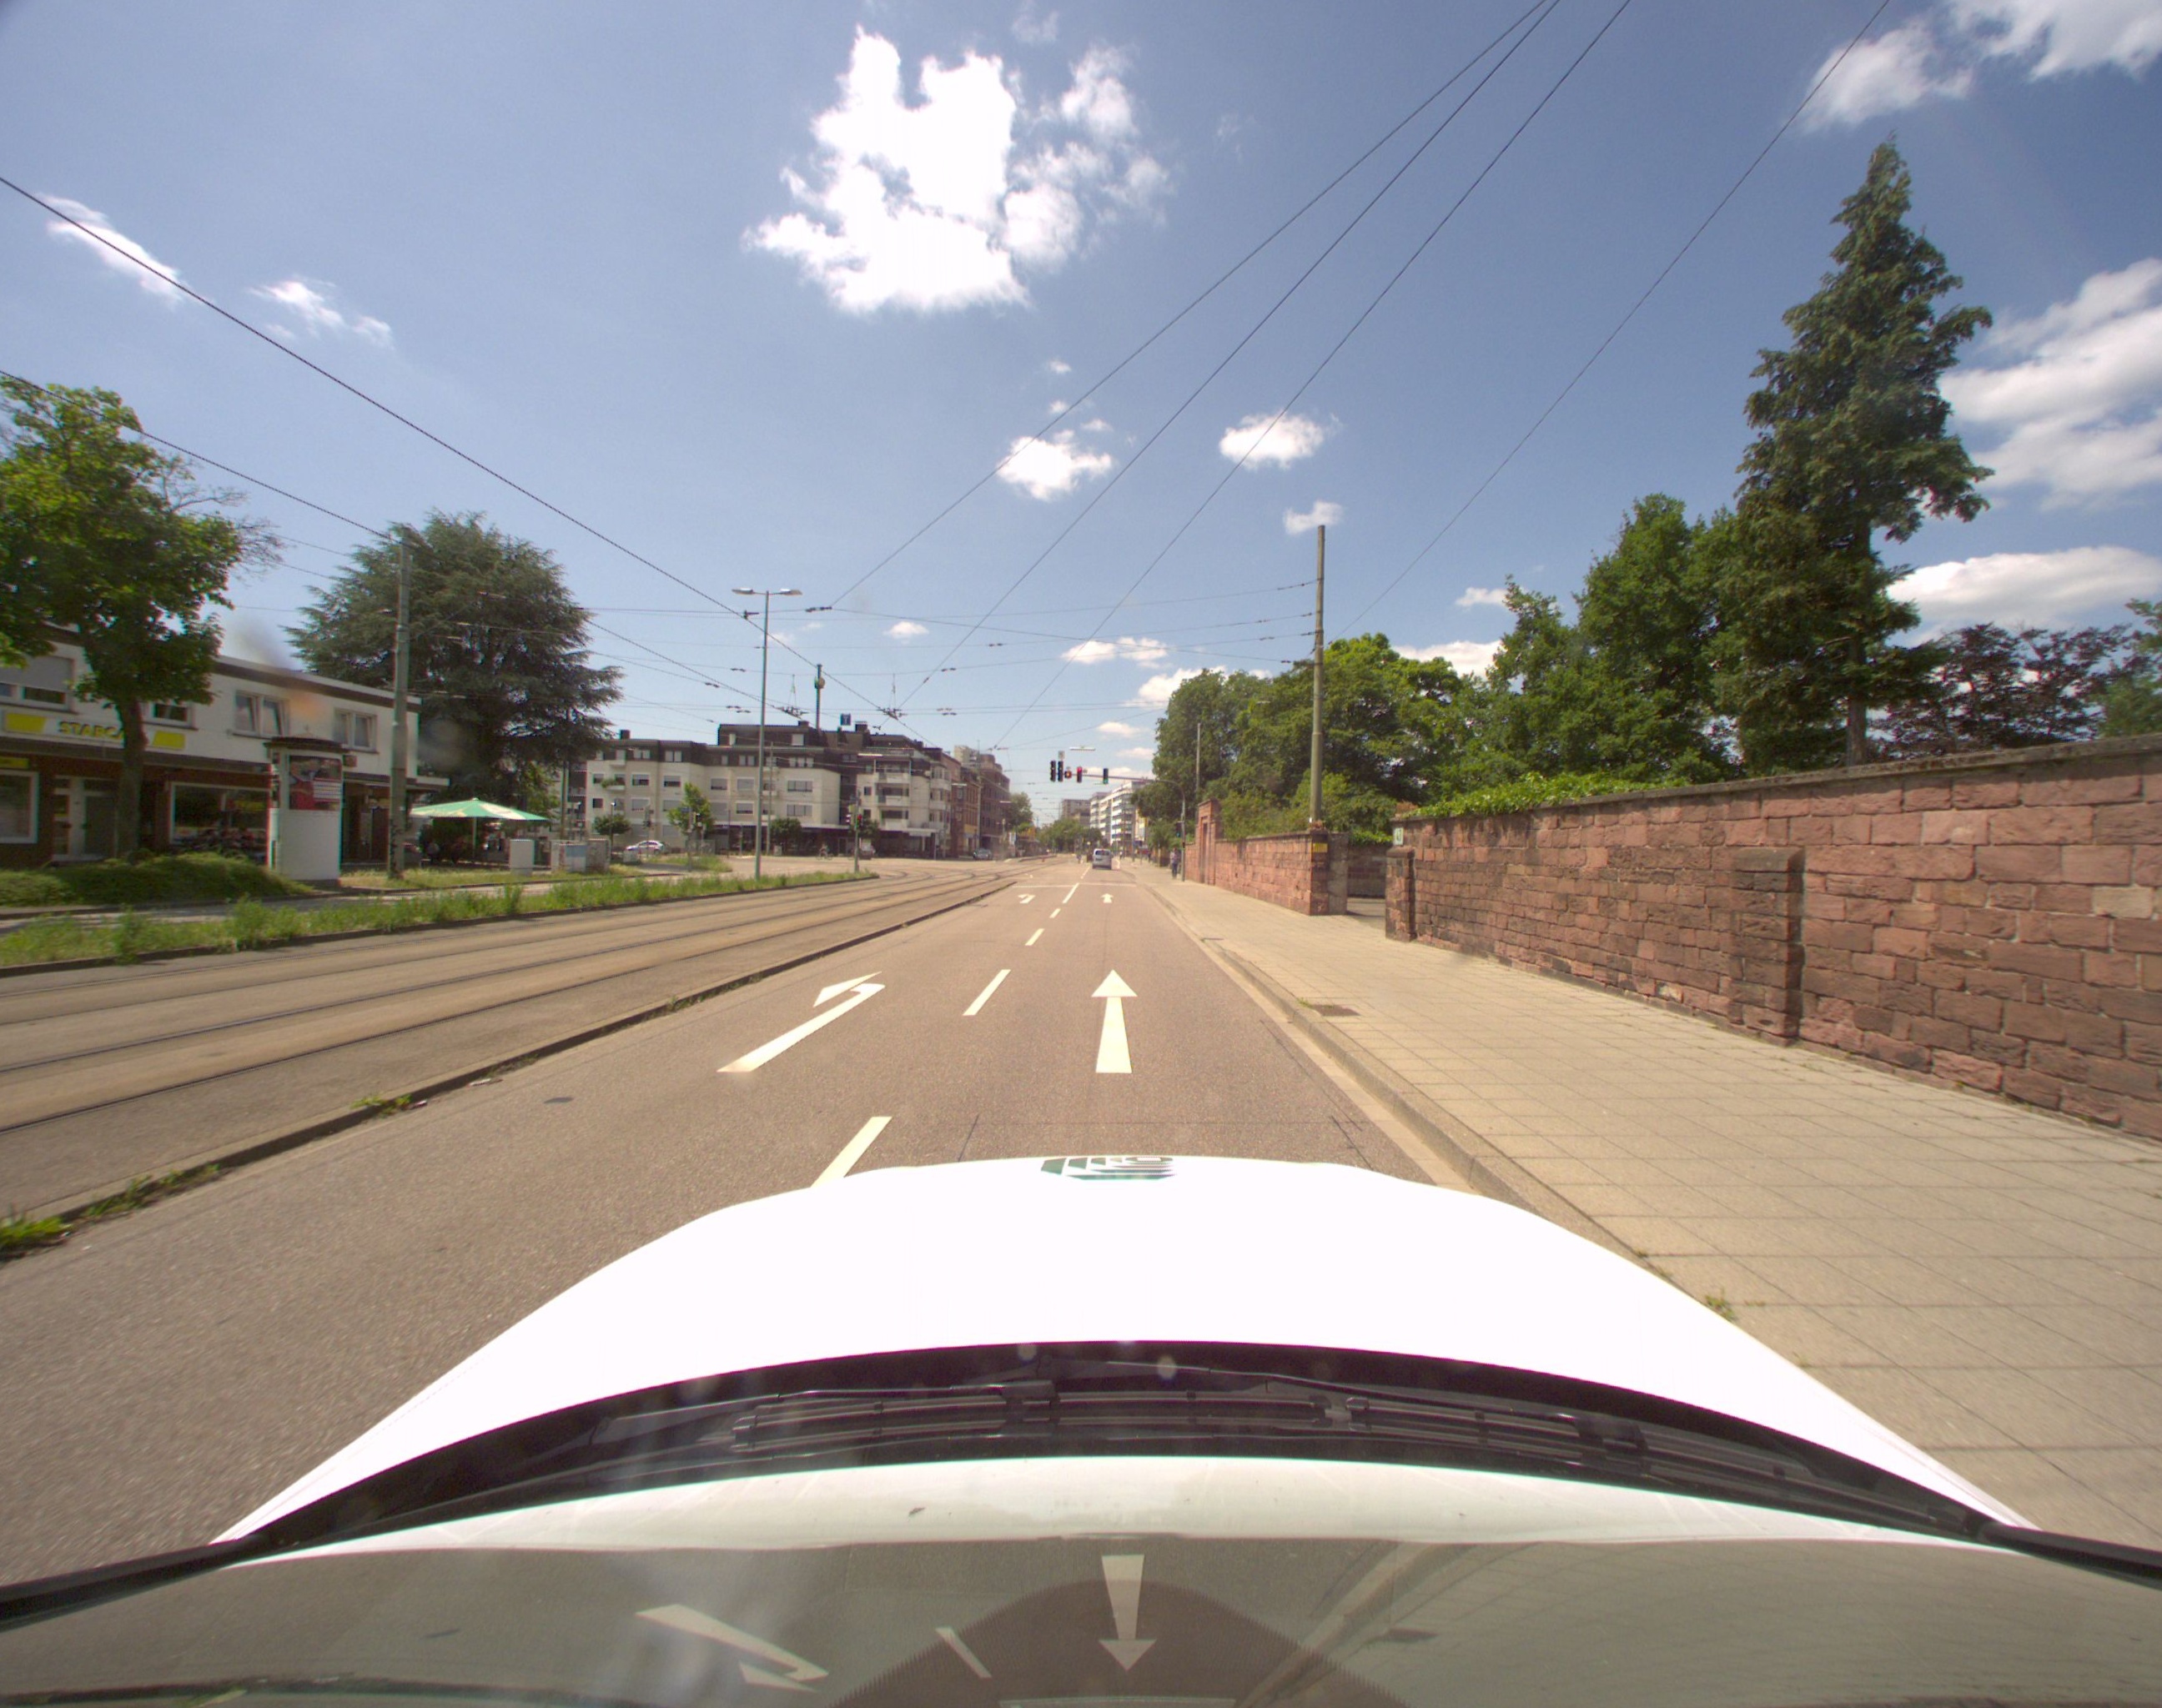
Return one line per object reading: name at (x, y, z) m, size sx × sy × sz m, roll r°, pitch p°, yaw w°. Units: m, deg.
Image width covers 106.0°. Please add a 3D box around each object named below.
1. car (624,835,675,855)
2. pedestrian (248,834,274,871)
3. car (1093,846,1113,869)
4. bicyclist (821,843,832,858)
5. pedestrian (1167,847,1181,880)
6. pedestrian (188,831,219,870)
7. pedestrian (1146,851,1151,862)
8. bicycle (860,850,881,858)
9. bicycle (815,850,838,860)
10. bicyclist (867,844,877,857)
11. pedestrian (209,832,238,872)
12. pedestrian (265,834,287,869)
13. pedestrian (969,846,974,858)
car at (-43.724, -0.886, 82.572) m, size 3.974 × 1.912 × 2.000 m, roll 1°, pitch 0°, yaw 0°
pedestrian at (-28.214, -0.049, 28.031) m, size 0.342 × 1.268 × 0.528 m, roll 1°, pitch 0°, yaw 4°
car at (1.995, 0.297, 74.487) m, size 1.746 × 2.013 × 4.002 m, roll 0°, pitch 1°, yaw 2°
bicyclist at (-26.734, -0.368, 85.566) m, size 0.727 × 1.487 × 0.859 m, roll -1°, pitch -1°, yaw 43°
pedestrian at (5.345, 0.536, 46.664) m, size 0.711 × 1.852 × 0.769 m, roll 1°, pitch 0°, yaw 8°
pedestrian at (-28.948, -0.106, 26.861) m, size 0.350 × 1.268 × 0.580 m, roll 1°, pitch 0°, yaw 2°
pedestrian at (9.577, 0.340, 115.426) m, size 0.574 × 1.556 × 0.787 m, roll 0°, pitch -1°, yaw 5°
bicycle at (-23.979, 0.012, 92.891) m, size 0.663 × 0.934 × 2.271 m, roll -1°, pitch -1°, yaw 42°
bicycle at (-26.729, 0.110, 85.569) m, size 0.510 × 1.101 × 2.271 m, roll -1°, pitch -1°, yaw 43°
bicyclist at (-23.897, -0.441, 92.976) m, size 0.648 × 1.468 × 0.854 m, roll -1°, pitch -1°, yaw 45°
pedestrian at (-28.175, -0.066, 26.754) m, size 0.351 × 1.268 × 0.533 m, roll 1°, pitch 0°, yaw 2°
pedestrian at (-28.864, -0.105, 29.198) m, size 0.384 × 1.246 × 0.401 m, roll 1°, pitch 0°, yaw 2°
pedestrian at (-18.288, -0.324, 136.251) m, size 0.615 × 2.013 × 0.810 m, roll 1°, pitch 0°, yaw 0°
